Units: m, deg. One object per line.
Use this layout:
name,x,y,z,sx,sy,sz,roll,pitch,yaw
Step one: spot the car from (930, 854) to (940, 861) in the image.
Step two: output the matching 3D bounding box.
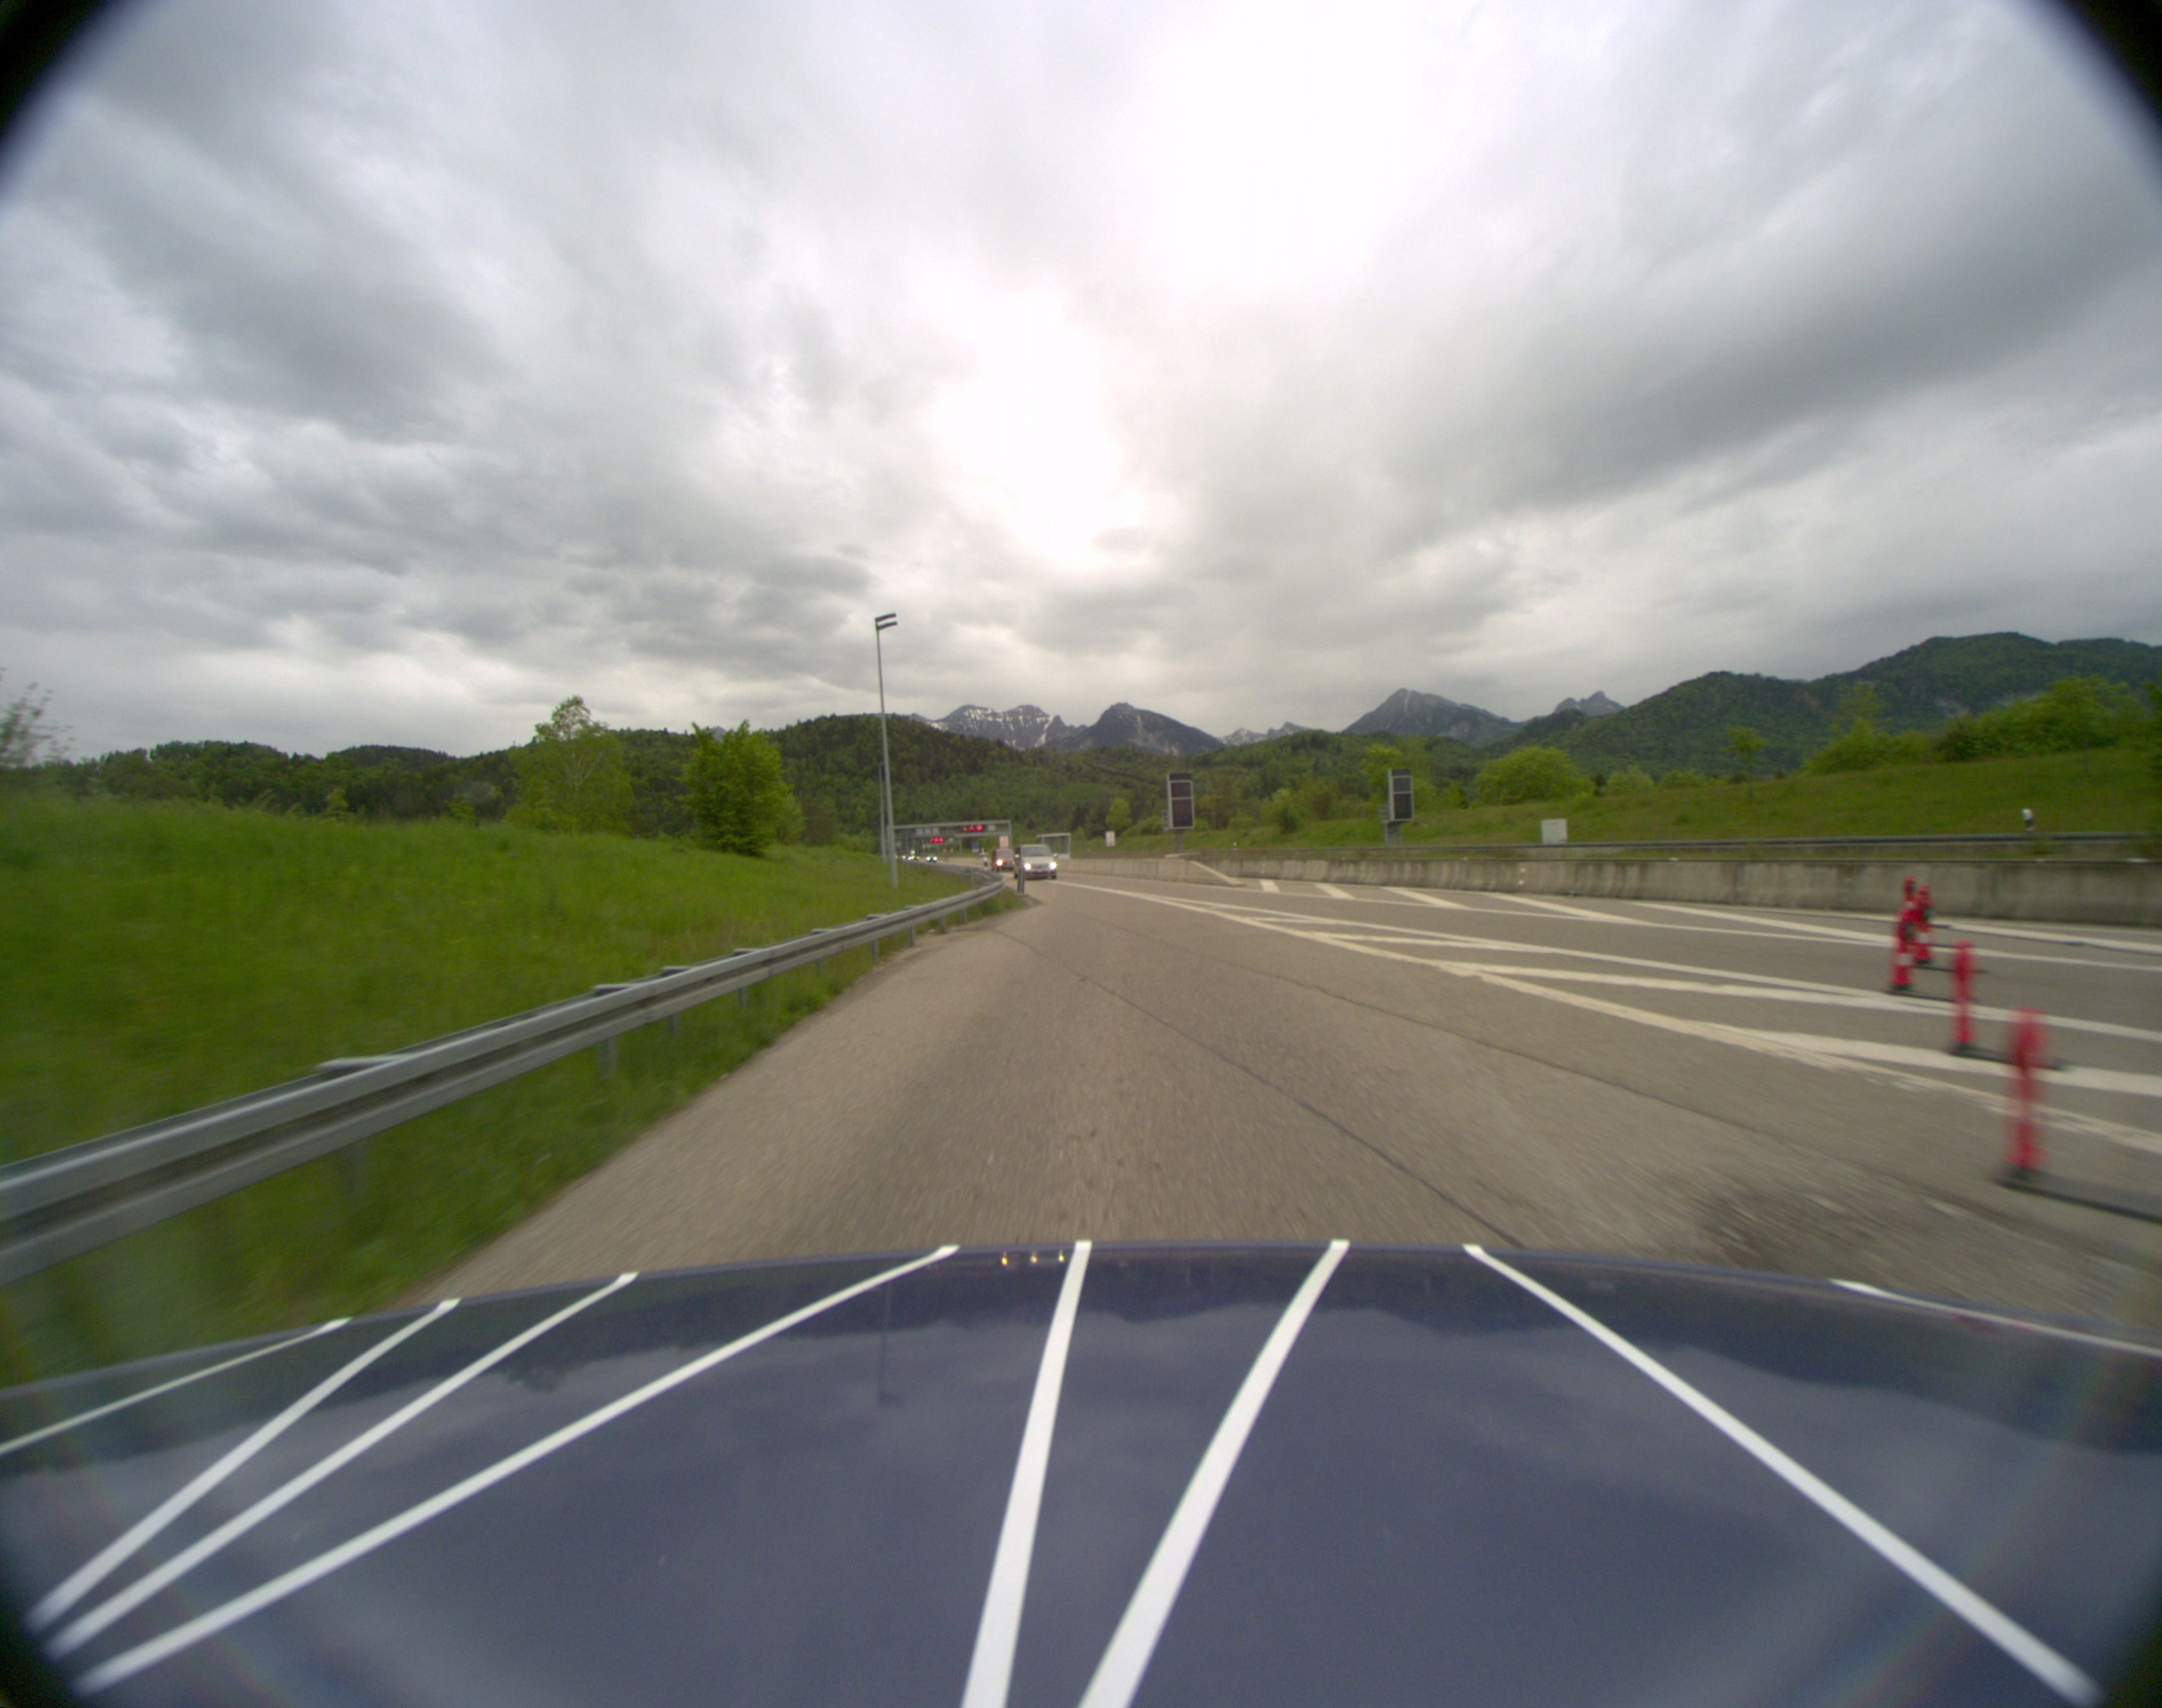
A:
car,-29.247,0.685,152.098,1.665,1.329,3.787,-1,0,-14

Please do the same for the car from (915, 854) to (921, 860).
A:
car,-49.009,0.955,228.719,1.632,1.688,3.493,-2,0,-10

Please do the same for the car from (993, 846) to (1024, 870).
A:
car,-5.794,0.308,60.084,1.758,1.794,3.995,-2,0,-15

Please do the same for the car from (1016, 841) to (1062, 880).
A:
car,-2.359,0.308,41.449,1.924,1.871,5.134,-3,1,-9

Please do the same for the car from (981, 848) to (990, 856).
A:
car,-23.758,-0.501,188.468,1.915,1.688,3.493,-2,0,-10
